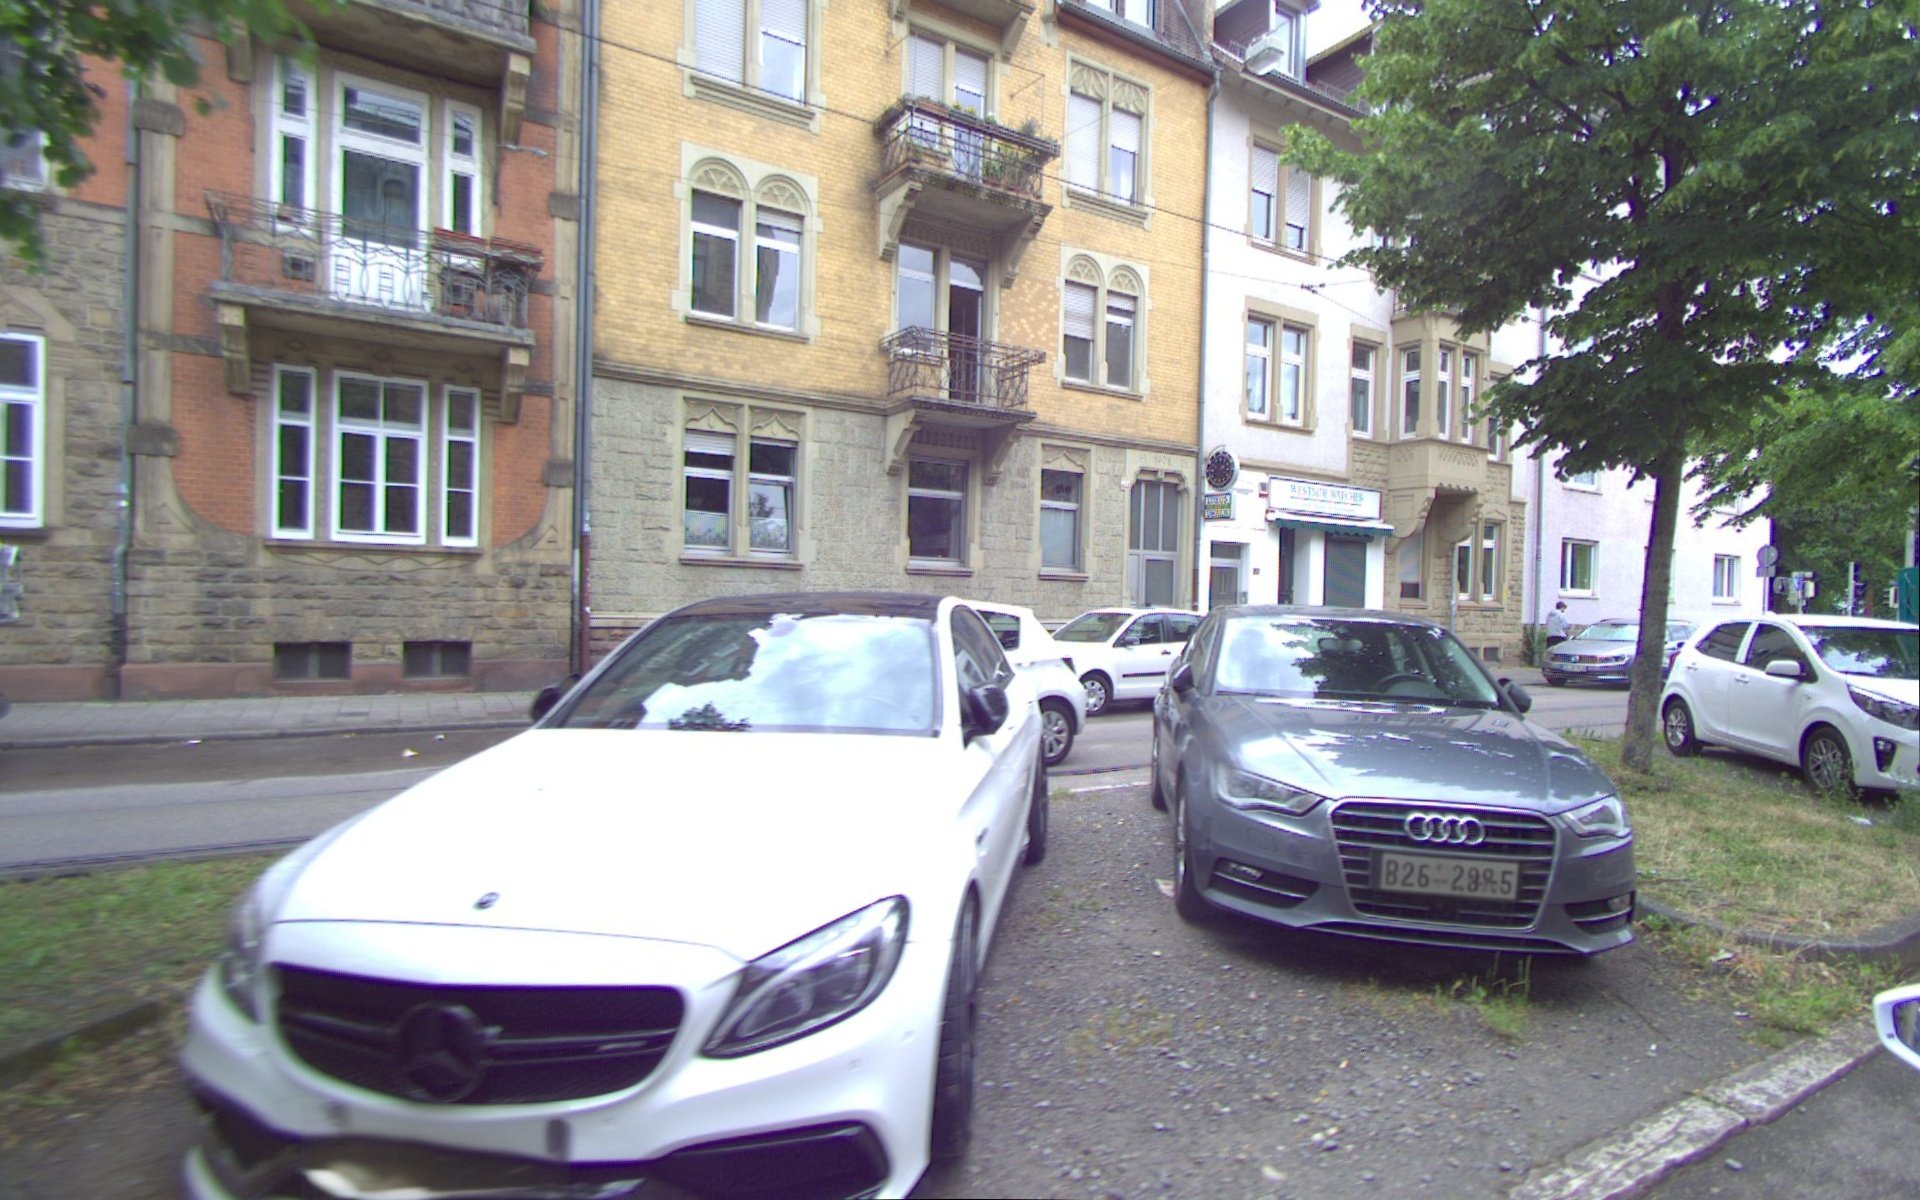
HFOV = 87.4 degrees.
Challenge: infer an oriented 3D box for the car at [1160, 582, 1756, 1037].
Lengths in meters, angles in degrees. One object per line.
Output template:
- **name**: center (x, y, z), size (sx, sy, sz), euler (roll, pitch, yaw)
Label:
- **car**: center (2.090, 0.693, 5.596), size (1.860, 1.454, 4.343), euler (1, 0, 11)

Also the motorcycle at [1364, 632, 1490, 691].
- **motorcycle**: center (8.783, 1.157, 18.902), size (2.192, 1.052, 0.709), euler (2, 0, -15)

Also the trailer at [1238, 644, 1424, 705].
- **trailer**: center (6.327, 1.222, 17.067), size (3.043, 0.904, 1.446), euler (1, -1, -33)

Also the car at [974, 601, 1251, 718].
- **car**: center (2.264, 0.803, 14.580), size (3.881, 1.462, 1.625), euler (1, 0, -33)

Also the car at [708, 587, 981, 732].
- **car**: center (-1.413, 0.670, 12.395), size (2.919, 1.571, 1.625), euler (1, 0, -33)

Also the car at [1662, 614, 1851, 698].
- **car**: center (15.182, 1.034, 19.110), size (3.841, 1.401, 1.635), euler (2, 0, -32)

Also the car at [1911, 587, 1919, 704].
- **car**: center (17.094, 0.787, 14.864), size (1.920, 2.000, 4.771), euler (1, 0, 7)

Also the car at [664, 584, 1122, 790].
- **car**: center (-0.535, 0.686, 9.153), size (3.841, 1.524, 1.635), euler (2, 0, -32)

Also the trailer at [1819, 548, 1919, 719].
- **trailer**: center (14.276, 0.478, 13.768), size (1.892, 2.376, 3.672), euler (1, 0, 2)

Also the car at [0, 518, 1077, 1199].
- **car**: center (-0.553, 0.605, 4.036), size (1.860, 1.454, 4.691), euler (1, 0, 8)

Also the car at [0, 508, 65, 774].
- **car**: center (-9.693, 0.225, 6.861), size (5.038, 1.978, 1.871), euler (2, 0, -32)

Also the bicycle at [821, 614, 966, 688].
- **bicycle**: center (-1.033, 0.798, 15.963), size (2.236, 1.087, 0.706), euler (1, 0, -33)

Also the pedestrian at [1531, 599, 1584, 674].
- **pedestrian**: center (14.765, 0.887, 24.818), size (0.890, 1.790, 0.793), euler (1, 0, -32)

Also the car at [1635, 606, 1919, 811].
- **car**: center (7.969, 0.821, 9.112), size (1.655, 1.482, 3.866), euler (1, 0, 11)

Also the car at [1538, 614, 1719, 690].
- **car**: center (14.669, 1.098, 21.975), size (4.521, 1.462, 1.625), euler (1, 0, -33)
